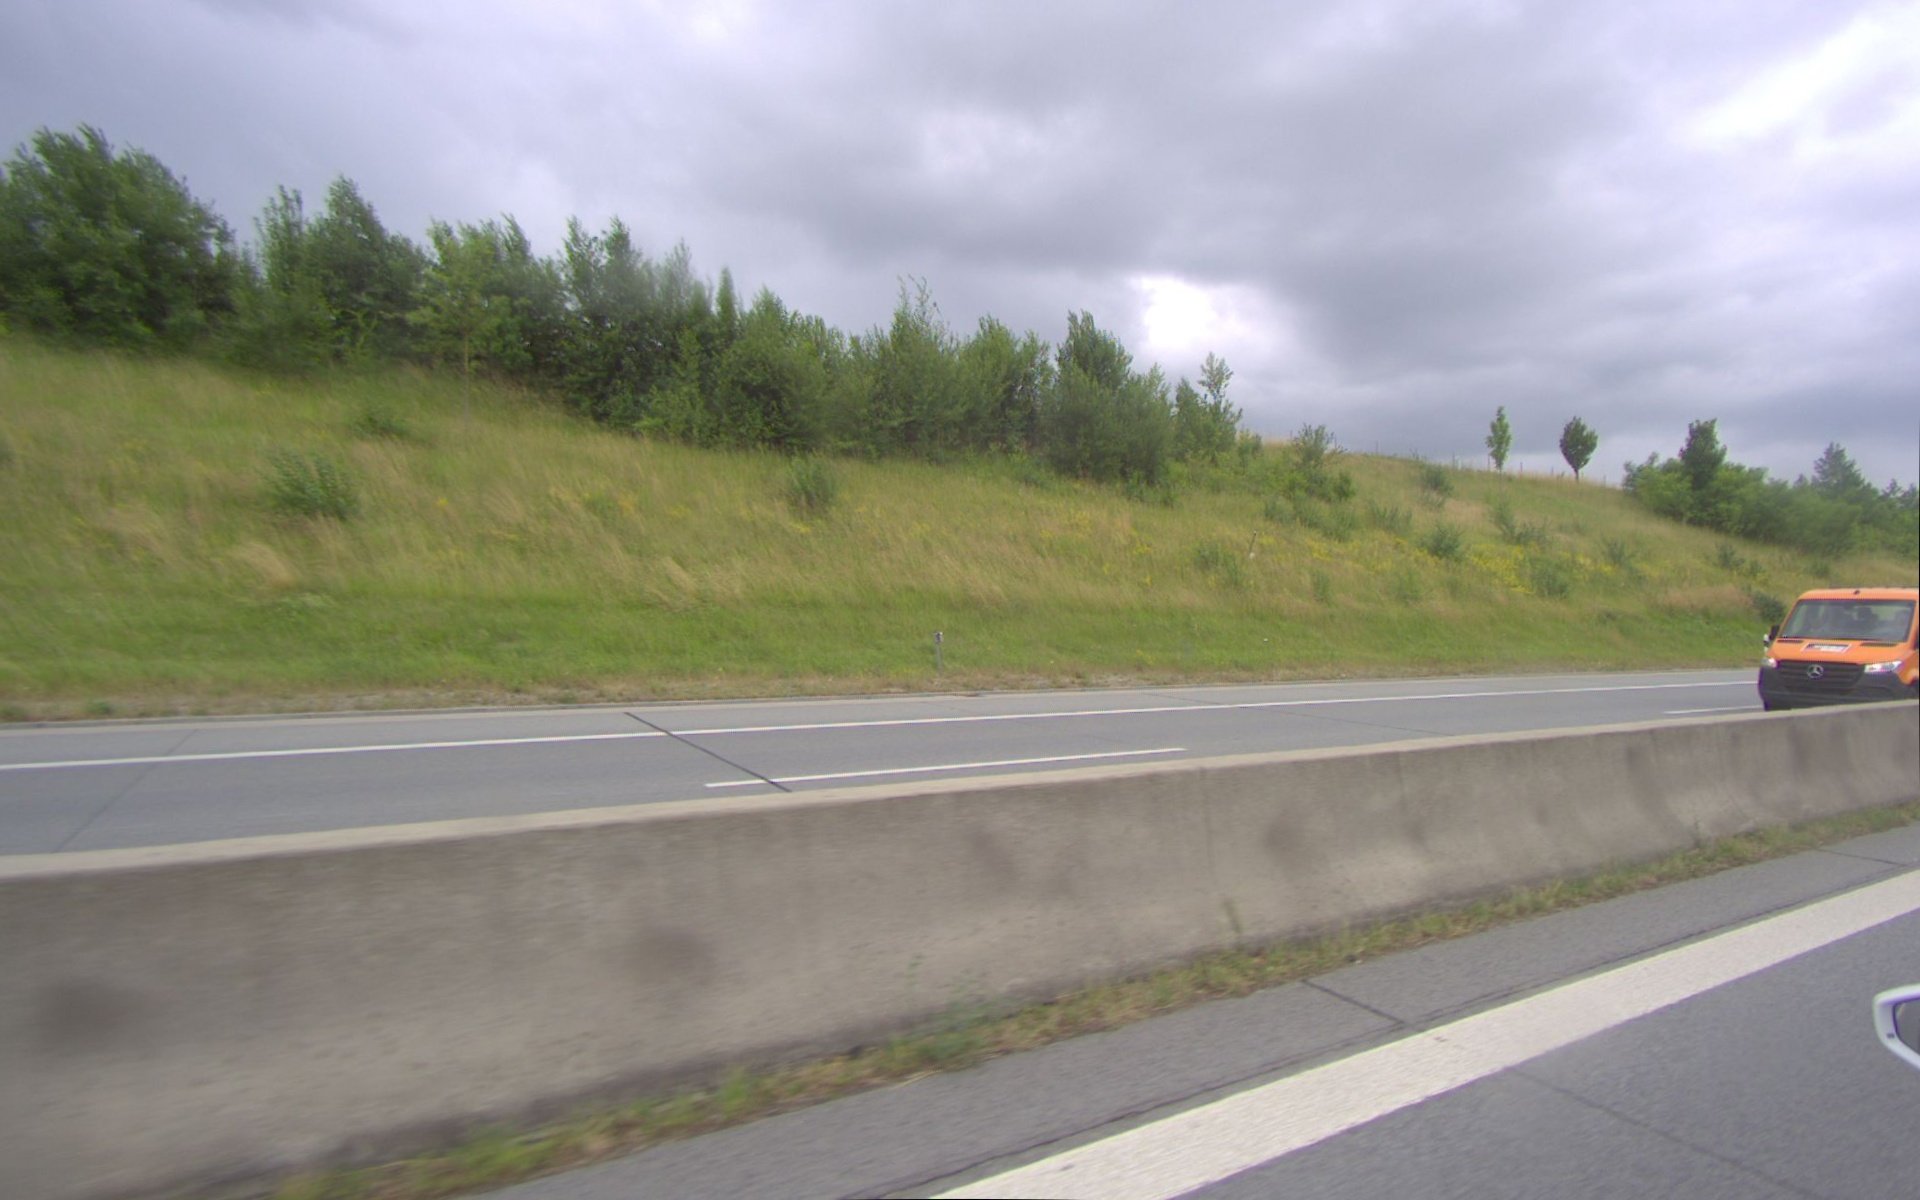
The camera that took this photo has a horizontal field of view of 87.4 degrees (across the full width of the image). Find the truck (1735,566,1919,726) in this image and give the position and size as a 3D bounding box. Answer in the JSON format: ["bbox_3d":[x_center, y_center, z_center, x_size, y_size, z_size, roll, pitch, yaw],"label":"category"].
[{"bbox_3d":[17.082,0.792,18.540,6.478,2.543,2.180,1,-1,-31],"label":"truck"}]
